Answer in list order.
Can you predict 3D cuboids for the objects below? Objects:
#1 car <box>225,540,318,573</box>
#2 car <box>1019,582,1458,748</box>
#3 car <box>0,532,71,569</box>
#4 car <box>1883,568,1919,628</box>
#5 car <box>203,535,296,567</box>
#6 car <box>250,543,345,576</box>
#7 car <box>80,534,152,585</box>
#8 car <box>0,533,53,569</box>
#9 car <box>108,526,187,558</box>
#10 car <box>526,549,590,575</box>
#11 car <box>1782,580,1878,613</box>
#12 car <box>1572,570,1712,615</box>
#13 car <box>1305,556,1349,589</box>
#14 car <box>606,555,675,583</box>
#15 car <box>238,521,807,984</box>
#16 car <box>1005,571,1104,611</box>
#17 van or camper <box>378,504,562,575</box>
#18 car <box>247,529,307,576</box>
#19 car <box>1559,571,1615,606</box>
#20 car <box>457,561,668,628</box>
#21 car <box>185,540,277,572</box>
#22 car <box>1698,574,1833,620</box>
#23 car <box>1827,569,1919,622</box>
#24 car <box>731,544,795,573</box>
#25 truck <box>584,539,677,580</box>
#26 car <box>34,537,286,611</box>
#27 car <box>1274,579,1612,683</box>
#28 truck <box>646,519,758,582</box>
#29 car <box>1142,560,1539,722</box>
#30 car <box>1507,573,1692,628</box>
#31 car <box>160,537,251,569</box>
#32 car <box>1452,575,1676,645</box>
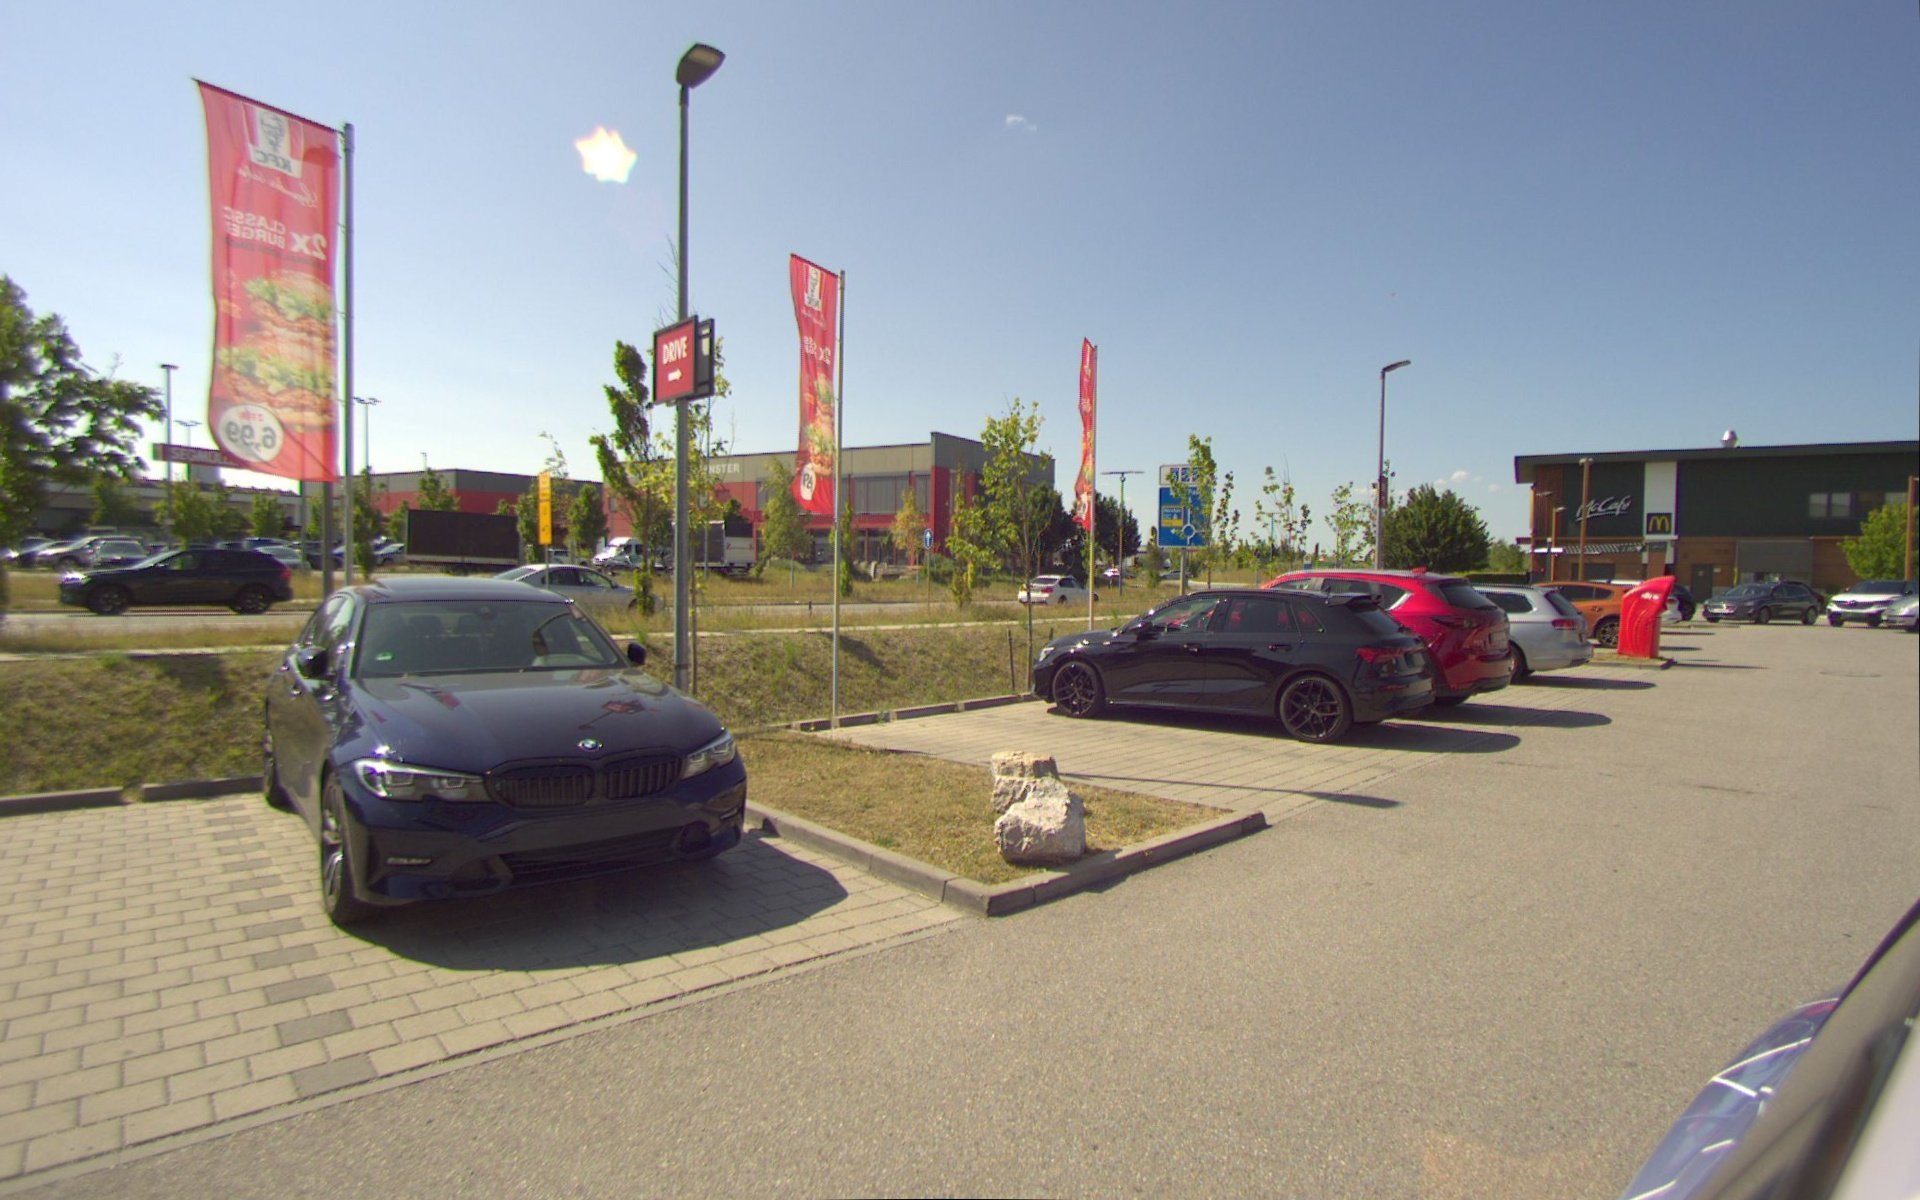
[{"bbox_3d":[-42.031,-2.652,61.872,1.939,1.878,4.359,2,1,29],"label":"car"},{"bbox_3d":[2.818,0.523,10.785,4.188,1.428,1.748,1,1,40],"label":"car"},{"bbox_3d":[-49.844,-2.592,53.160,1.939,1.878,4.359,2,1,29],"label":"car"},{"bbox_3d":[30.134,-0.029,29.335,4.643,1.770,1.814,1,2,30],"label":"car"},{"bbox_3d":[-44.173,-3.012,63.022,1.939,1.878,4.359,2,1,29],"label":"car"},{"bbox_3d":[-39.474,-2.389,60.386,1.939,1.878,4.359,2,1,29],"label":"car"},{"bbox_3d":[-33.175,-1.566,39.872,1.919,1.878,4.404,0,1,-36],"label":"car"},{"bbox_3d":[-51.868,-2.655,54.312,1.939,1.878,4.359,2,1,29],"label":"car"},{"bbox_3d":[-57.774,-4.095,71.998,1.985,2.039,3.954,2,1,32],"label":"car"},{"bbox_3d":[-30.689,-2.870,77.347,1.939,1.878,4.359,2,1,29],"label":"car"},{"bbox_3d":[45.887,-0.182,53.381,4.373,1.622,1.967,1,1,-21],"label":"car"},{"bbox_3d":[25.197,-0.291,37.438,4.241,1.545,1.980,1,2,-16],"label":"car"},{"bbox_3d":[25.794,-1.894,70.962,1.984,2.224,5.051,2,1,30],"label":"car"},{"bbox_3d":[-17.947,-1.741,56.782,3.941,1.478,1.635,2,1,35],"label":"car"},{"bbox_3d":[-2.866,0.498,5.932,1.862,1.658,4.445,-1,1,-40],"label":"car"},{"bbox_3d":[4.045,-0.392,42.678,1.990,1.545,4.592,2,2,39],"label":"car"},{"bbox_3d":[-23.871,-2.875,49.574,7.890,3.140,2.423,0,1,-27],"label":"van or camper"},{"bbox_3d":[-29.168,-2.001,43.177,1.919,1.878,4.404,0,1,-36],"label":"car"},{"bbox_3d":[33.220,-0.639,53.763,1.976,1.712,4.200,2,2,25],"label":"car"},{"bbox_3d":[-9.971,-0.160,25.661,1.993,1.545,4.586,2,2,42],"label":"car"},{"bbox_3d":[-46.182,-2.782,64.234,1.939,1.878,4.359,2,1,29],"label":"car"},{"bbox_3d":[28.395,-0.118,35.666,4.119,1.545,1.979,0,1,-23],"label":"car"},{"bbox_3d":[31.224,-0.146,33.966,4.123,1.675,1.978,0,1,-31],"label":"car"},{"bbox_3d":[-13.421,-2.794,69.025,1.939,1.878,4.359,2,1,29],"label":"car"},{"bbox_3d":[-23.939,-2.894,73.886,1.939,2.849,6.985,1,1,29],"label":"truck"},{"bbox_3d":[-19.694,-0.624,25.061,4.728,1.645,1.995,0,2,-45],"label":"car"},{"bbox_3d":[7.549,0.381,16.128,4.583,1.430,1.714,1,1,42],"label":"car"},{"bbox_3d":[-15.313,-2.884,59.878,6.790,3.524,2.733,2,1,36],"label":"truck"},{"bbox_3d":[4.573,0.374,12.525,4.216,1.658,1.921,1,1,43],"label":"car"},{"bbox_3d":[18.525,-0.012,29.402,4.456,1.487,1.809,0,1,37],"label":"car"},{"bbox_3d":[-48.955,-3.025,65.730,1.939,1.878,4.359,2,1,29],"label":"car"},{"bbox_3d":[13.996,0.188,23.556,4.328,1.487,1.809,0,1,37],"label":"car"}]
